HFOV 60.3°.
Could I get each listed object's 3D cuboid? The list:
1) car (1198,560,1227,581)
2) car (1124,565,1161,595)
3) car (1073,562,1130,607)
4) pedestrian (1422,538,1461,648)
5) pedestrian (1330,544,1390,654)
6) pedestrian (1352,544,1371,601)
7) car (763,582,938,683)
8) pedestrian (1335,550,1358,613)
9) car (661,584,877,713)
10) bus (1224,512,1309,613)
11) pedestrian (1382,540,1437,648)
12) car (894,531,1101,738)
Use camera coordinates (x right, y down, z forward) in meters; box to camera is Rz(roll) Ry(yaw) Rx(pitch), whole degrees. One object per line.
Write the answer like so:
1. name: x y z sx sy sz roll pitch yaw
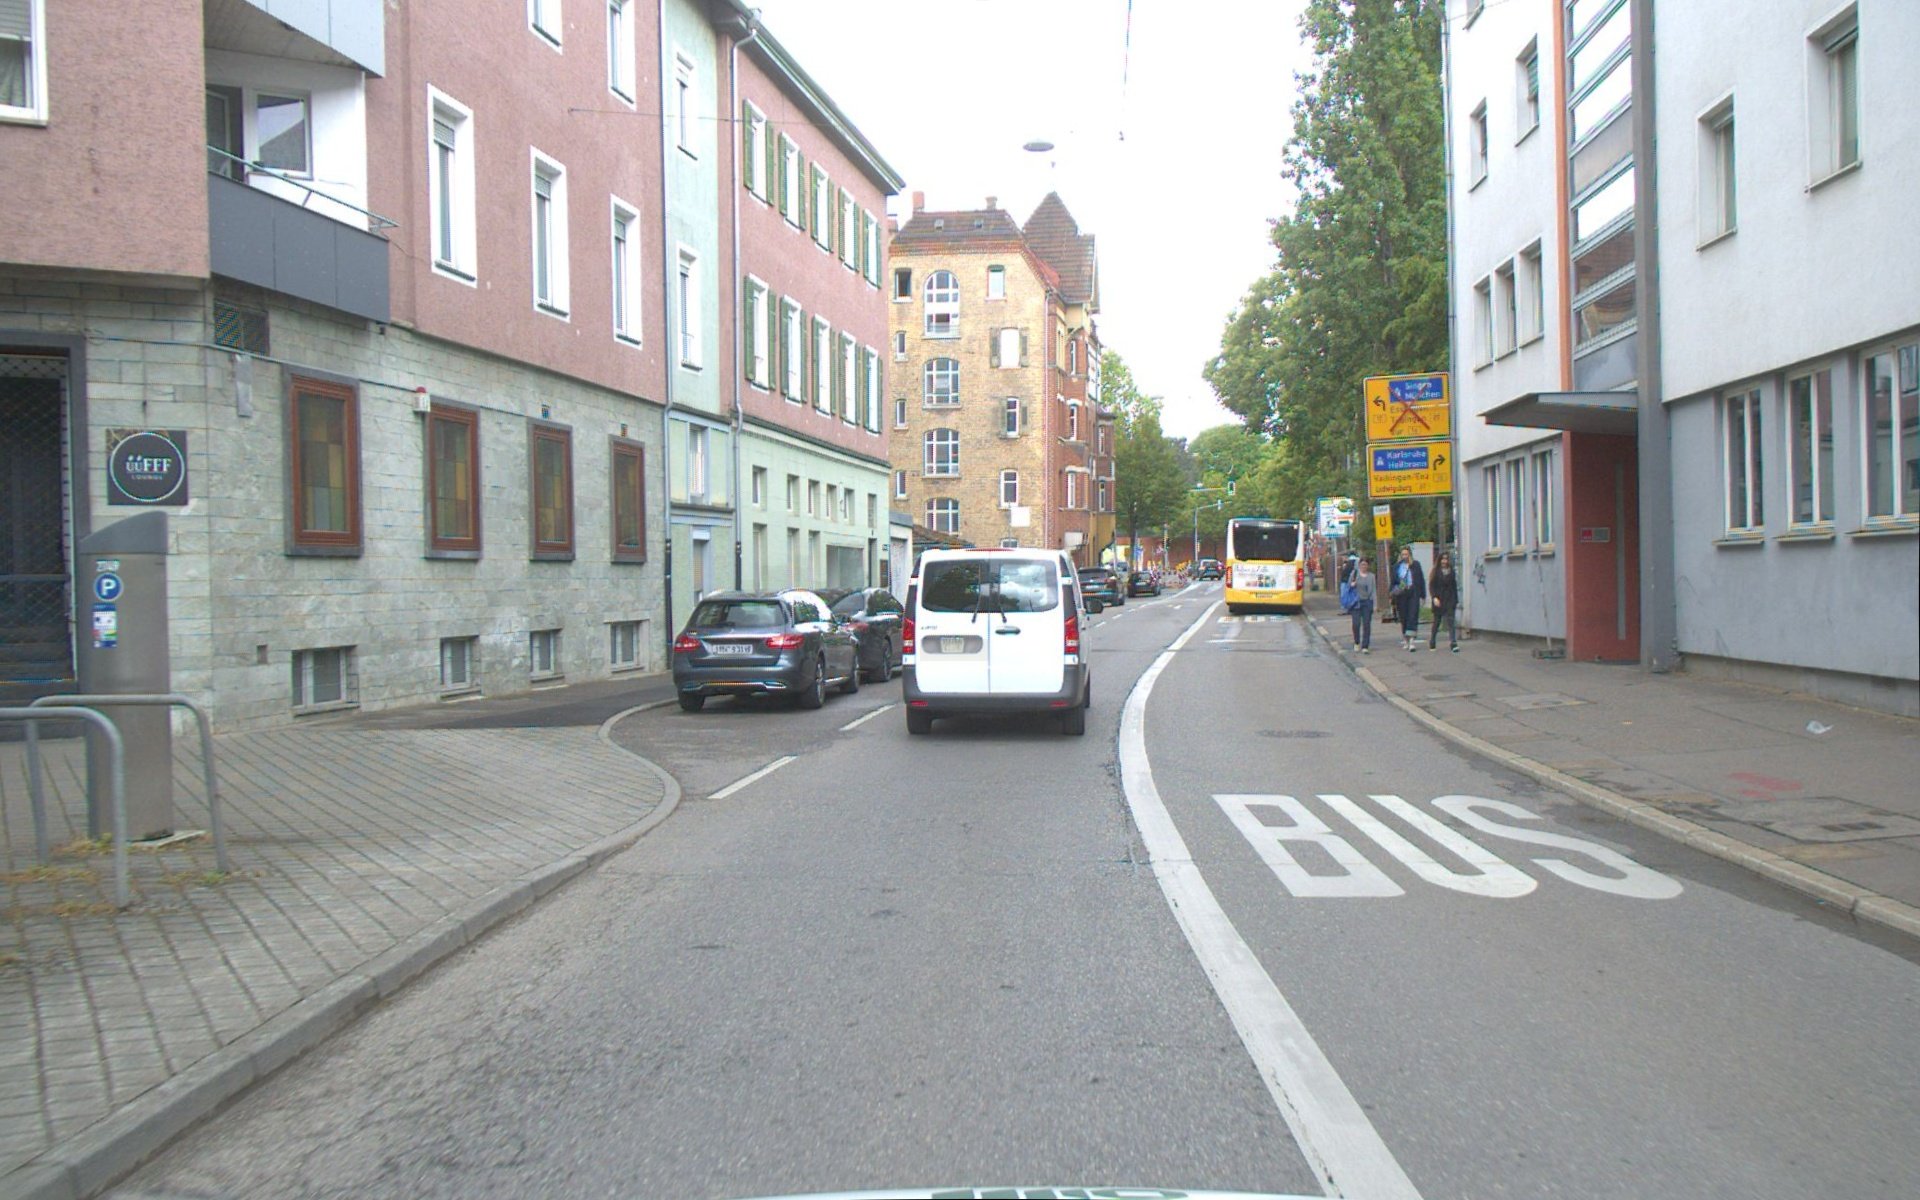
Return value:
1. car: 19.617 -2.297 128.361 1.993 1.511 4.395 0 3 12
2. car: 10.594 -1.182 95.895 1.688 1.511 4.395 0 3 12
3. car: 6.015 -0.703 69.639 1.912 1.764 4.779 -1 2 11
4. pedestrian: 8.055 -0.124 27.680 0.531 1.787 0.609 -3 2 18
5. pedestrian: 6.927 -0.033 28.700 0.786 1.824 0.943 -3 2 4
6. pedestrian: 13.087 -0.888 53.897 0.440 1.809 0.672 -4 0 10
7. car: -1.663 0.469 27.014 1.790 1.480 4.925 -1 0 9
8. pedestrian: 11.277 -0.545 48.239 0.569 1.810 0.822 1 1 10
9. car: -2.344 0.551 21.528 1.790 1.480 4.588 -1 0 6
10. bus: 10.761 -1.324 57.901 2.606 3.190 10.050 1 2 11
11. pedestrian: 7.769 -0.115 28.609 0.672 1.787 0.879 -3 2 4
12. car: 0.557 0.347 18.298 1.877 1.935 4.704 2 0 6
